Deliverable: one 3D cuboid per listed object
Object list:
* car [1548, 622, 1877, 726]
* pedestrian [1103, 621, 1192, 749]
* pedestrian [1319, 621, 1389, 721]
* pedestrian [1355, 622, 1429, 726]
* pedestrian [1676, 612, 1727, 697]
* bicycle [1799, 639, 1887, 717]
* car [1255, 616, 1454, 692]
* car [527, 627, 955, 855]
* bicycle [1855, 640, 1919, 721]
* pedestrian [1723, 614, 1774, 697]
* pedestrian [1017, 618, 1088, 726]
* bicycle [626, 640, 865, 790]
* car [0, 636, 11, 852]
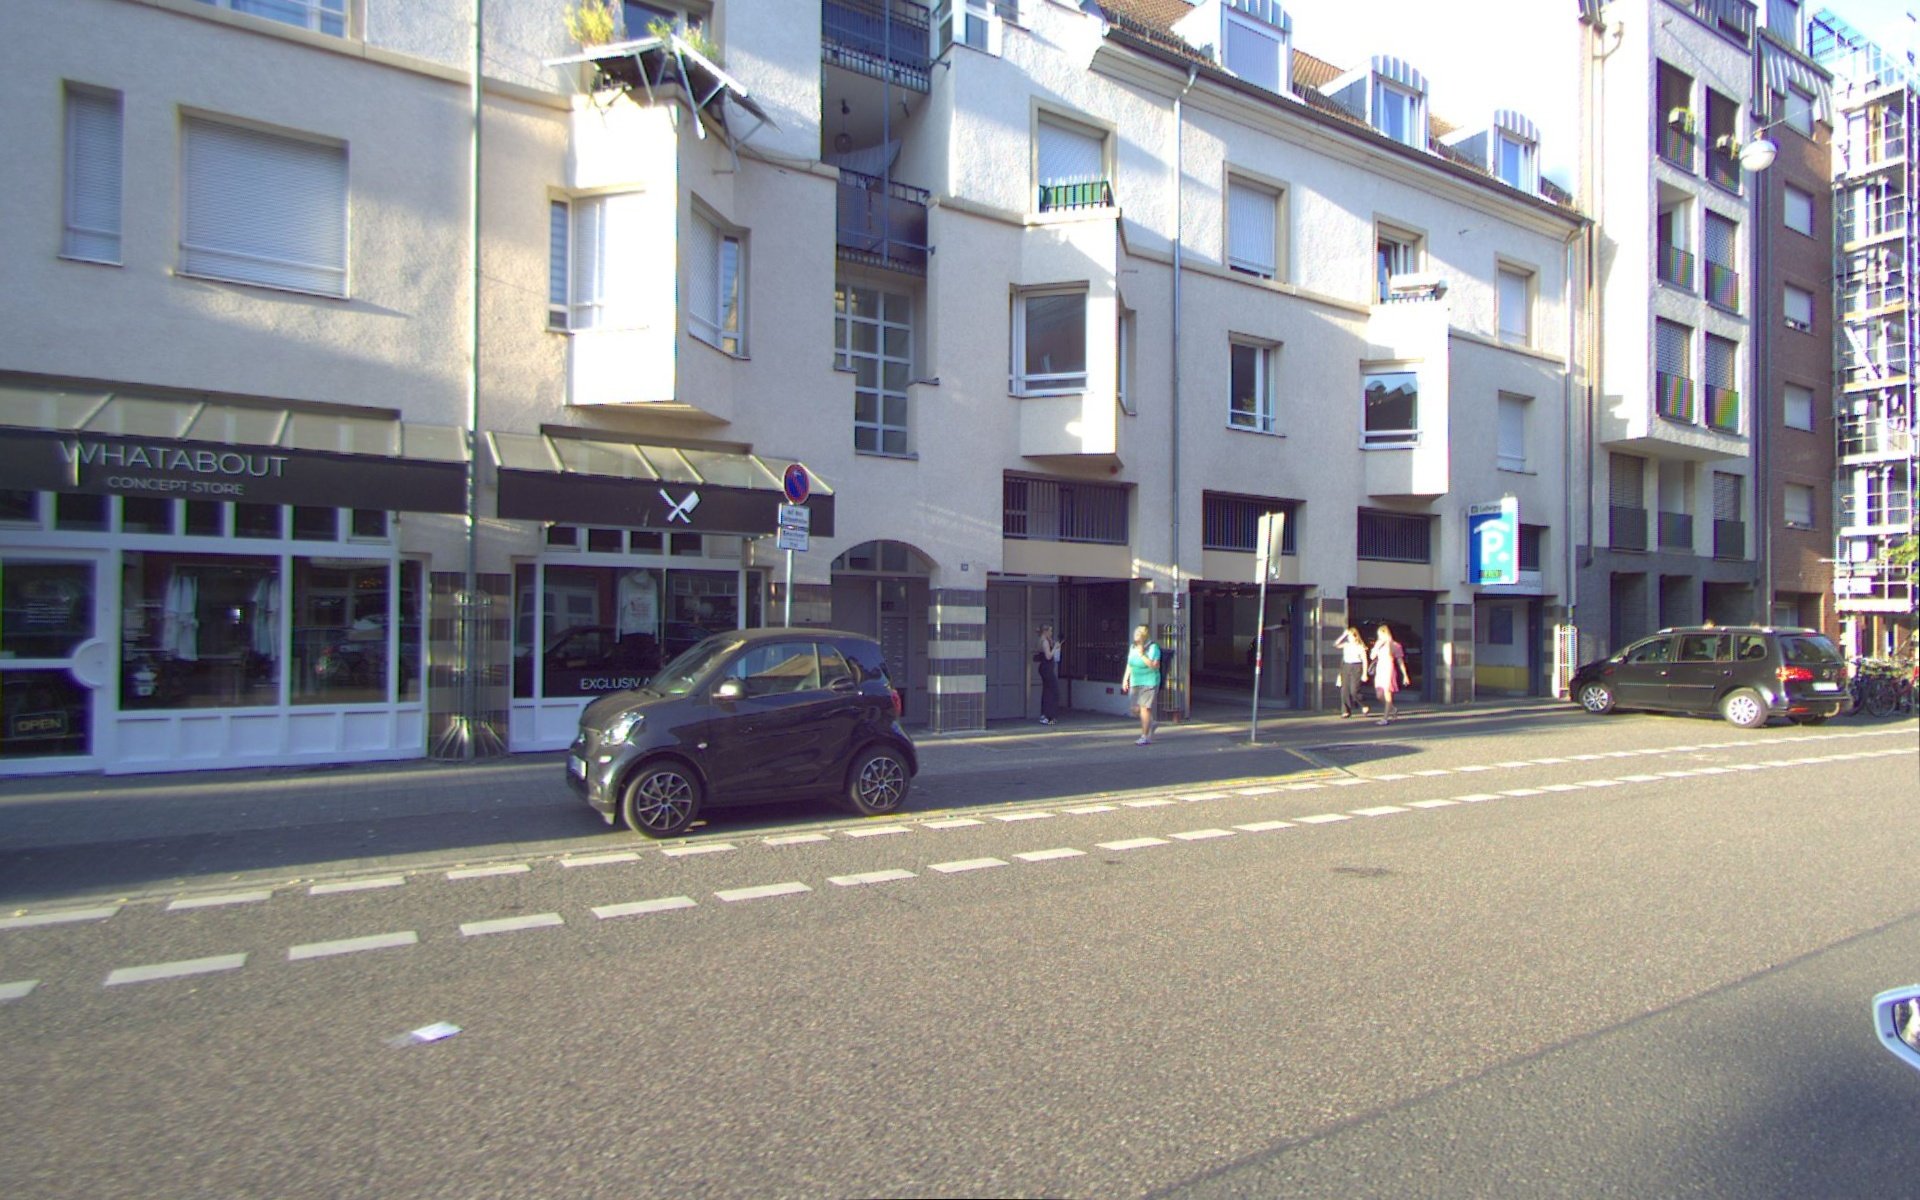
[{"bbox_3d":[13.280,1.244,18.131,1.968,1.622,4.494,2,-2,-17],"label":"car"},{"bbox_3d":[2.571,1.137,13.786,0.941,1.663,0.712,2,0,-33],"label":"pedestrian"},{"bbox_3d":[6.809,1.211,17.356,0.844,1.663,0.714,2,0,-26],"label":"pedestrian"},{"bbox_3d":[7.157,1.208,16.660,0.844,1.663,0.714,2,0,-26],"label":"pedestrian"},{"bbox_3d":[16.225,1.177,21.987,0.688,1.790,0.711,2,0,-38],"label":"pedestrian"},{"bbox_3d":[17.375,1.484,19.736,3.115,1.391,0.774,2,0,-39],"label":"bicycle"},{"bbox_3d":[9.764,1.283,25.262,1.974,1.623,4.478,2,0,-27],"label":"car"},{"bbox_3d":[-1.837,1.023,8.564,3.155,1.555,1.781,1,-1,-33],"label":"car"},{"bbox_3d":[17.905,1.478,19.067,3.139,1.414,0.886,2,-1,-39],"label":"bicycle"},{"bbox_3d":[17.263,1.205,21.991,0.732,1.763,0.711,2,0,-38],"label":"pedestrian"},{"bbox_3d":[1.459,1.119,15.925,0.844,1.637,0.714,2,0,-28],"label":"pedestrian"},{"bbox_3d":[-2.179,1.133,10.391,2.332,1.393,0.607,2,0,-31],"label":"bicycle"},{"bbox_3d":[-7.749,0.935,5.266,3.681,1.473,1.703,2,0,-30],"label":"car"}]
